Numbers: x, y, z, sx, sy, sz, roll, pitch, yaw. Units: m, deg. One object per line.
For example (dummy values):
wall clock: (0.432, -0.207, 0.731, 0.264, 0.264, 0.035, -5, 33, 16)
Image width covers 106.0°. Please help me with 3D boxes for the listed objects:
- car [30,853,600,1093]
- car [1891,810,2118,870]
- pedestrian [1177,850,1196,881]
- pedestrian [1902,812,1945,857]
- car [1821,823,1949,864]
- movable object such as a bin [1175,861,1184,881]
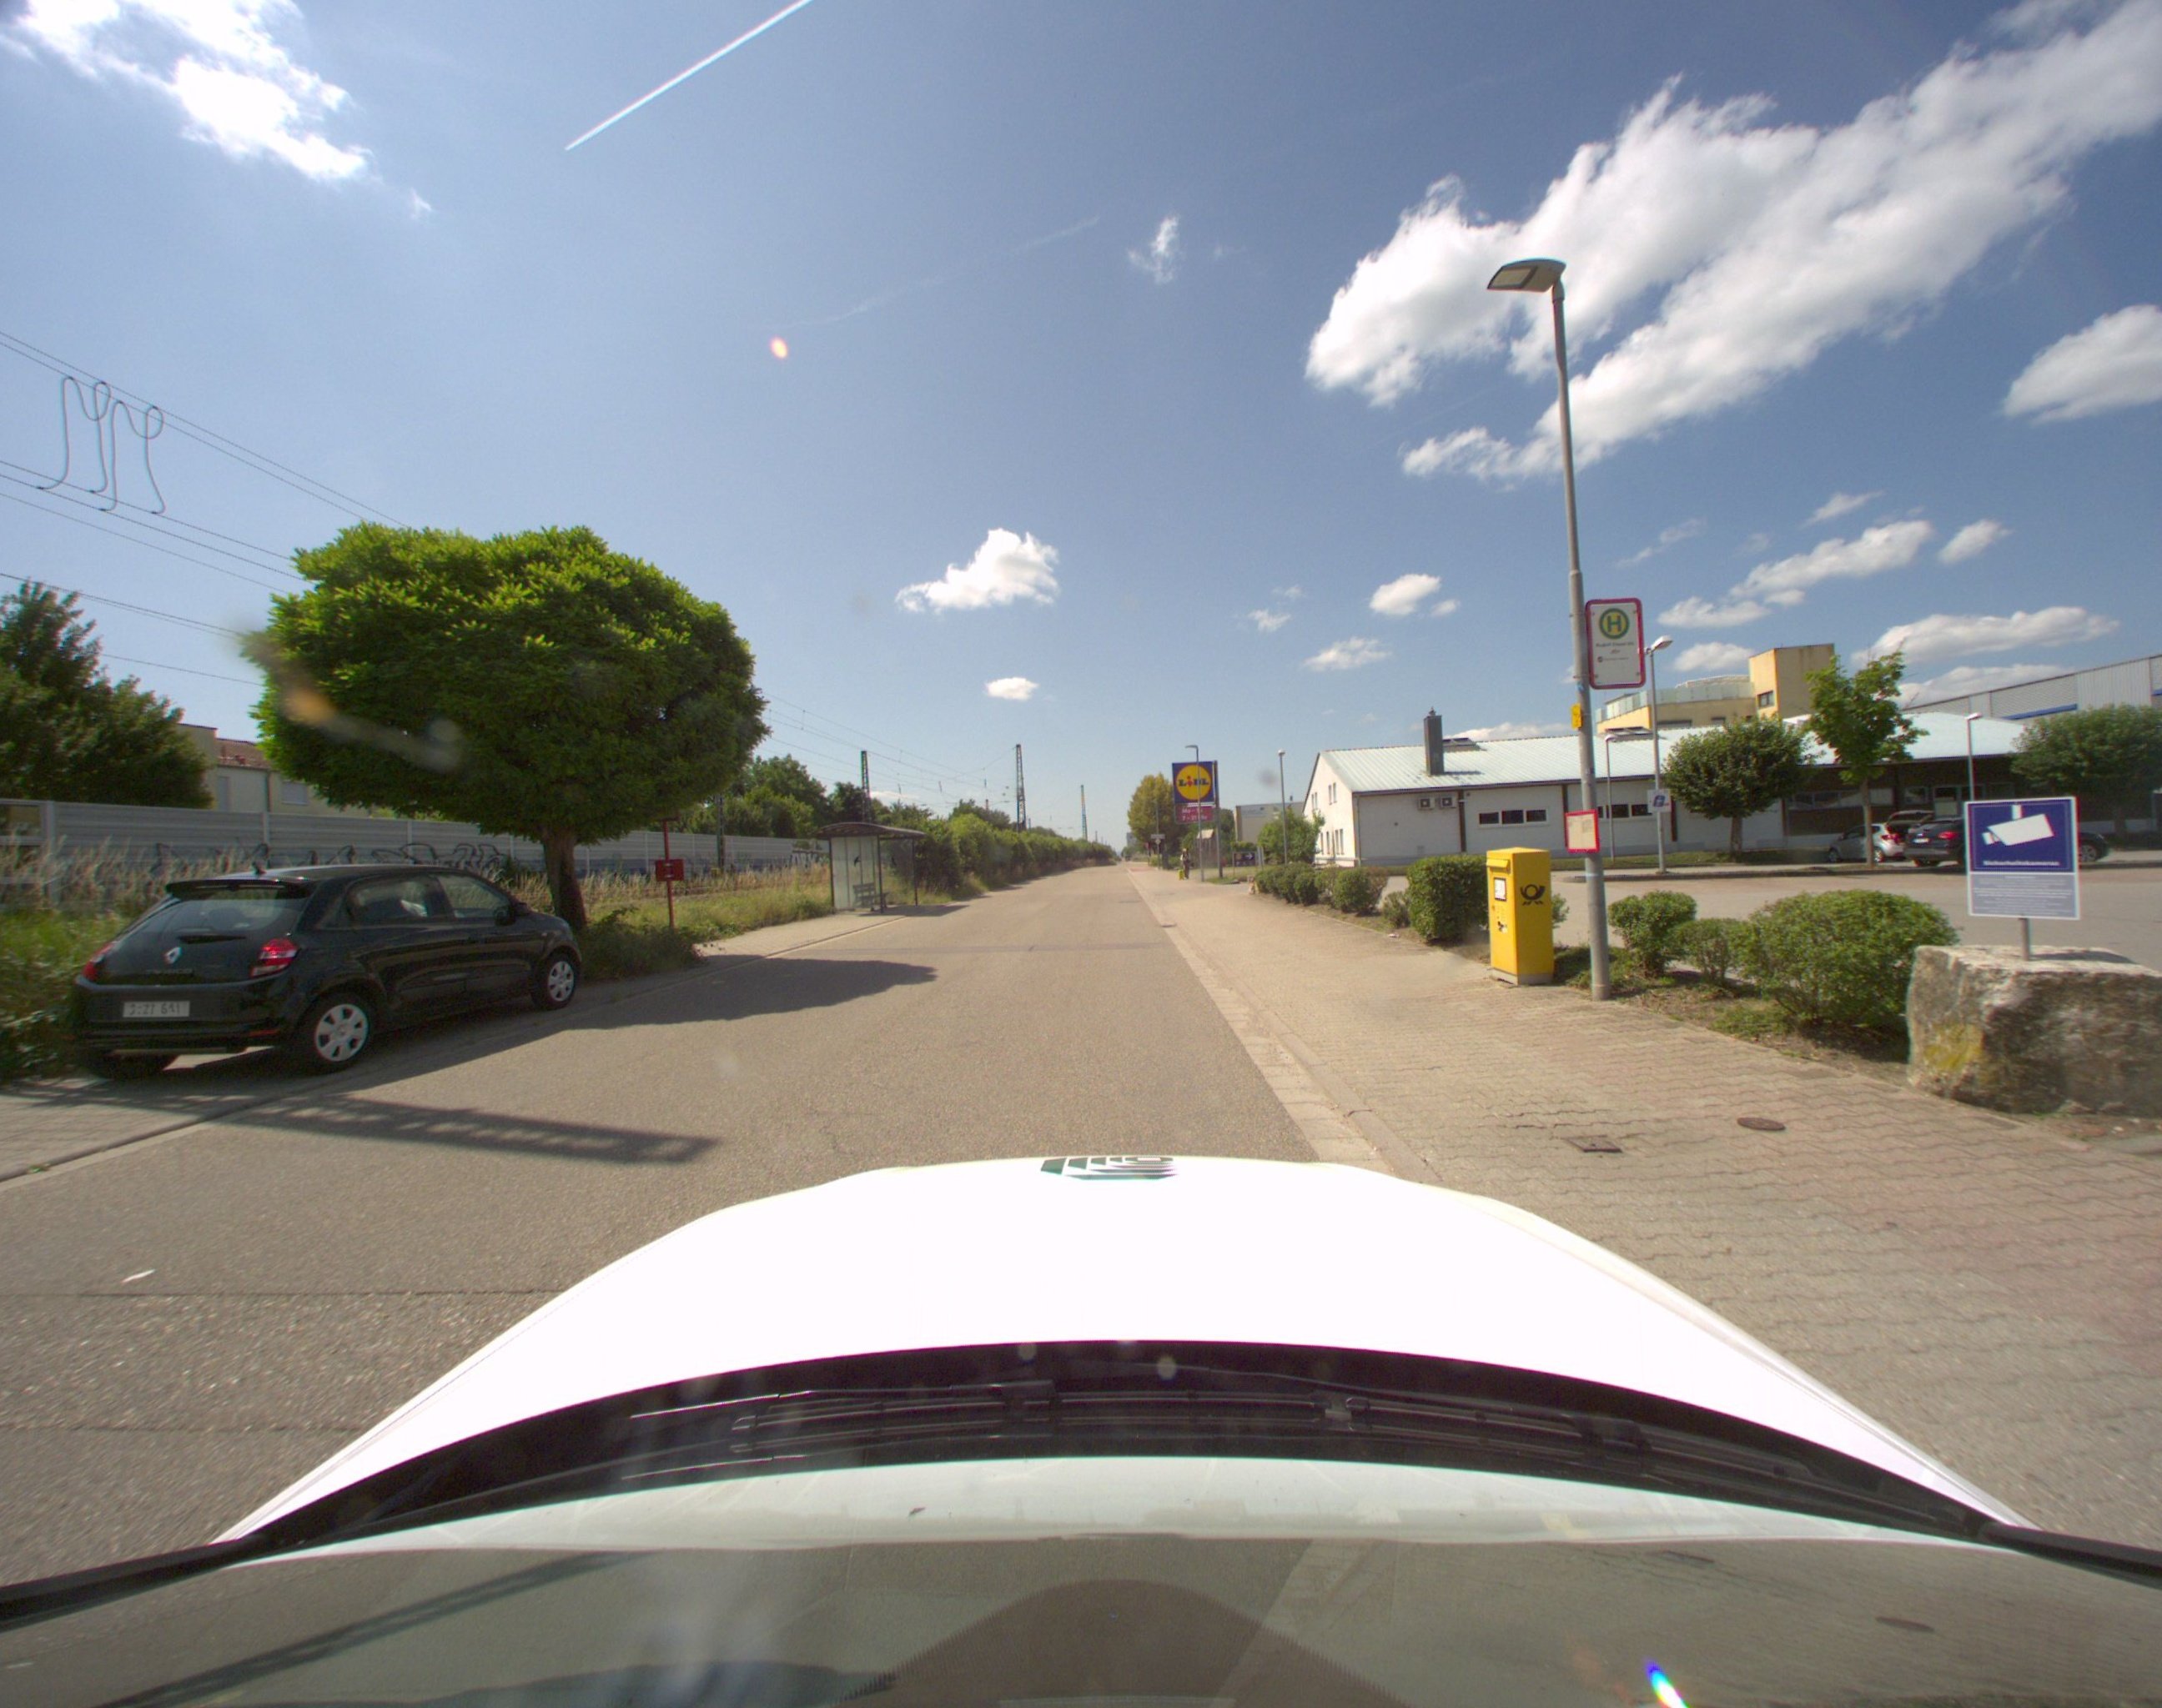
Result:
car: (-6.333, 0.822, 7.399, 1.736, 1.596, 3.579, -2, 0, 0)
car: (26.949, -0.386, 23.936, 3.960, 1.494, 2.007, -2, 0, 12)
pedestrian: (5.633, 0.595, 43.547, 0.759, 1.602, 1.210, -2, 0, -1)
pedestrian: (32.277, -0.720, 31.203, 0.724, 1.637, 0.785, -4, -3, 15)
car: (32.945, -0.422, 33.548, 1.876, 1.498, 3.912, -2, 0, 11)
movable object such as a bin: (5.216, 0.912, 43.131, 0.373, 1.029, 0.498, -3, 0, -2)
